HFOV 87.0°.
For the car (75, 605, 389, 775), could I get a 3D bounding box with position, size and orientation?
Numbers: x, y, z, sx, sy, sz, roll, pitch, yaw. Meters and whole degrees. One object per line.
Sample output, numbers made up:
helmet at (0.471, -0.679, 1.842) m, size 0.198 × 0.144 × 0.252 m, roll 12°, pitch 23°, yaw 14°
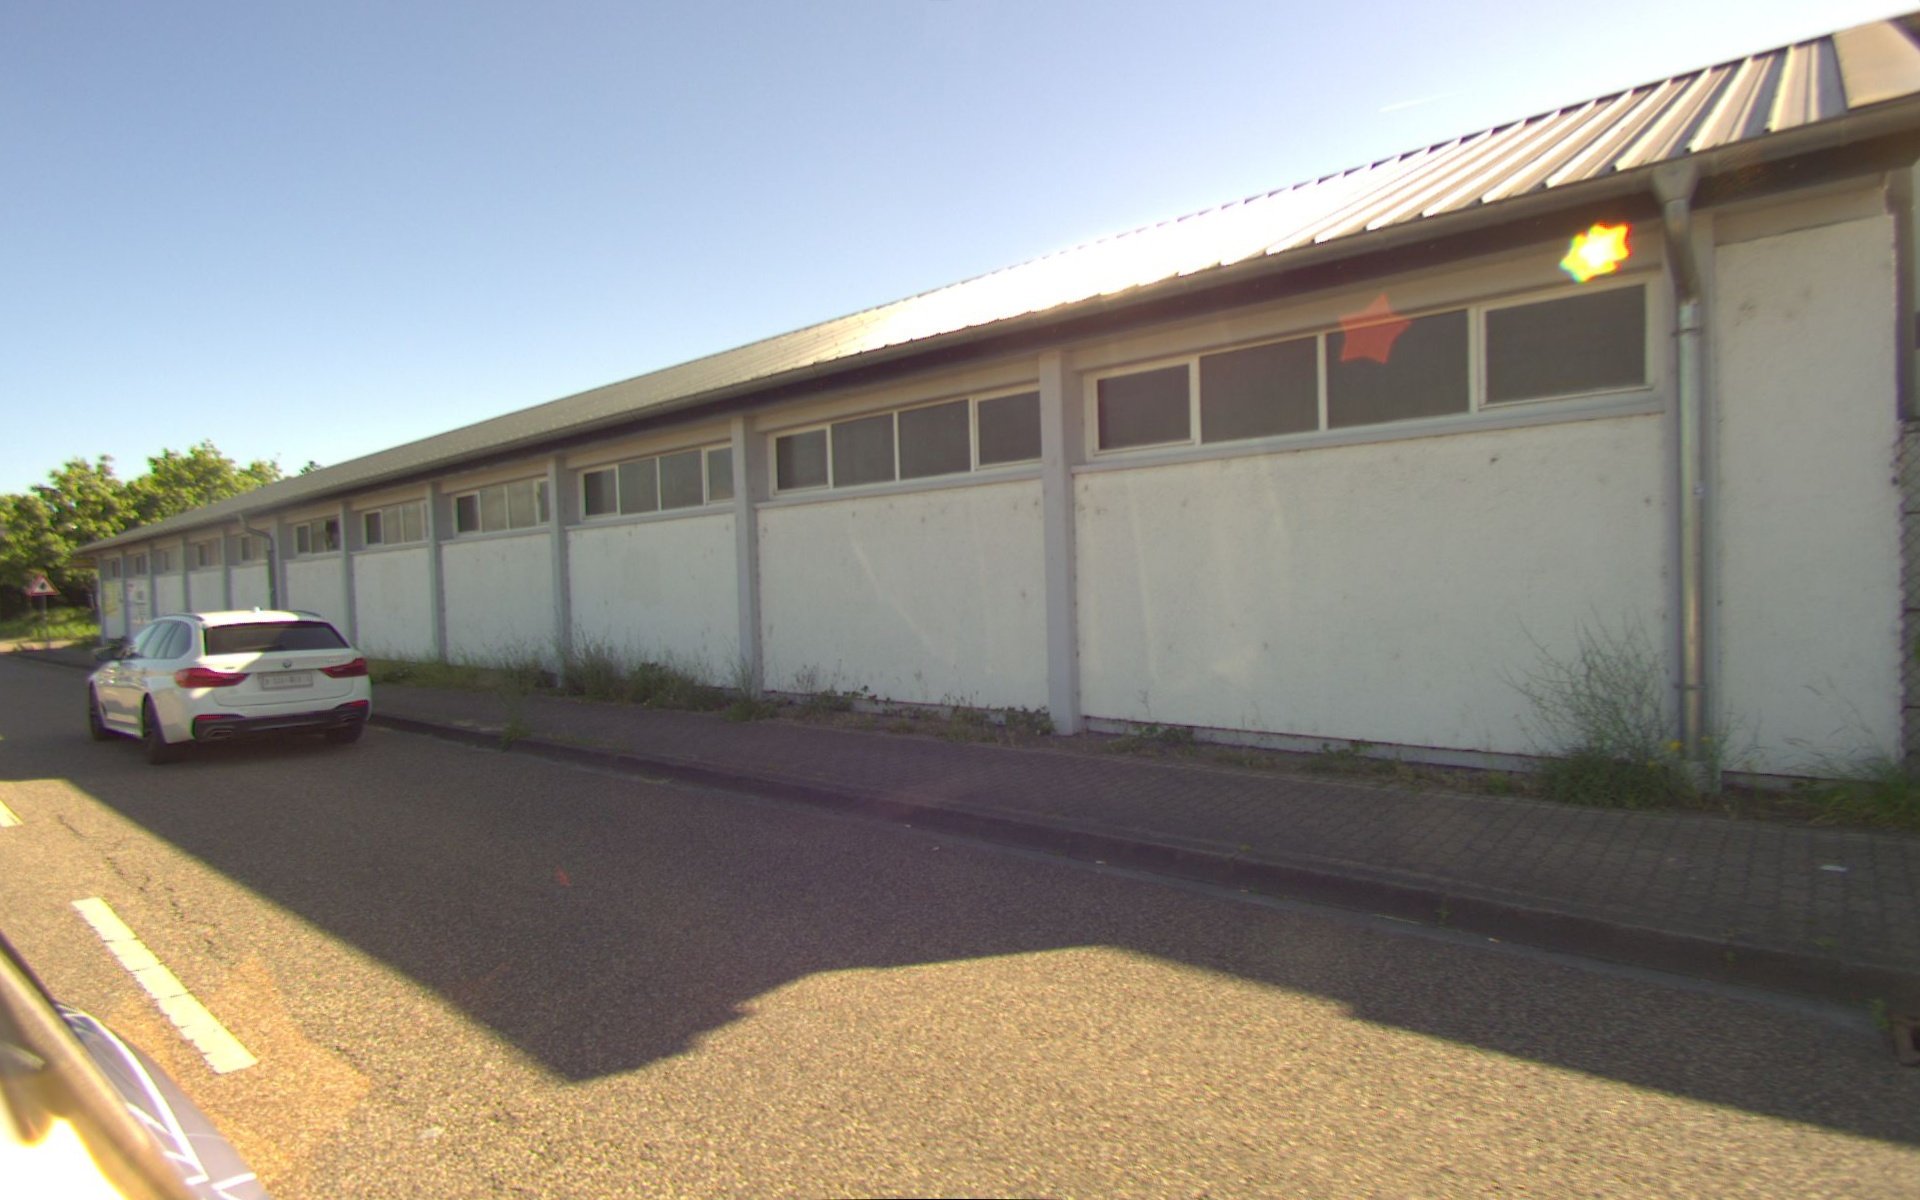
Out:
car at (-8.243, 0.845, 11.273) m, size 4.685 × 1.489 × 1.790 m, roll -1°, pitch 0°, yaw 41°
